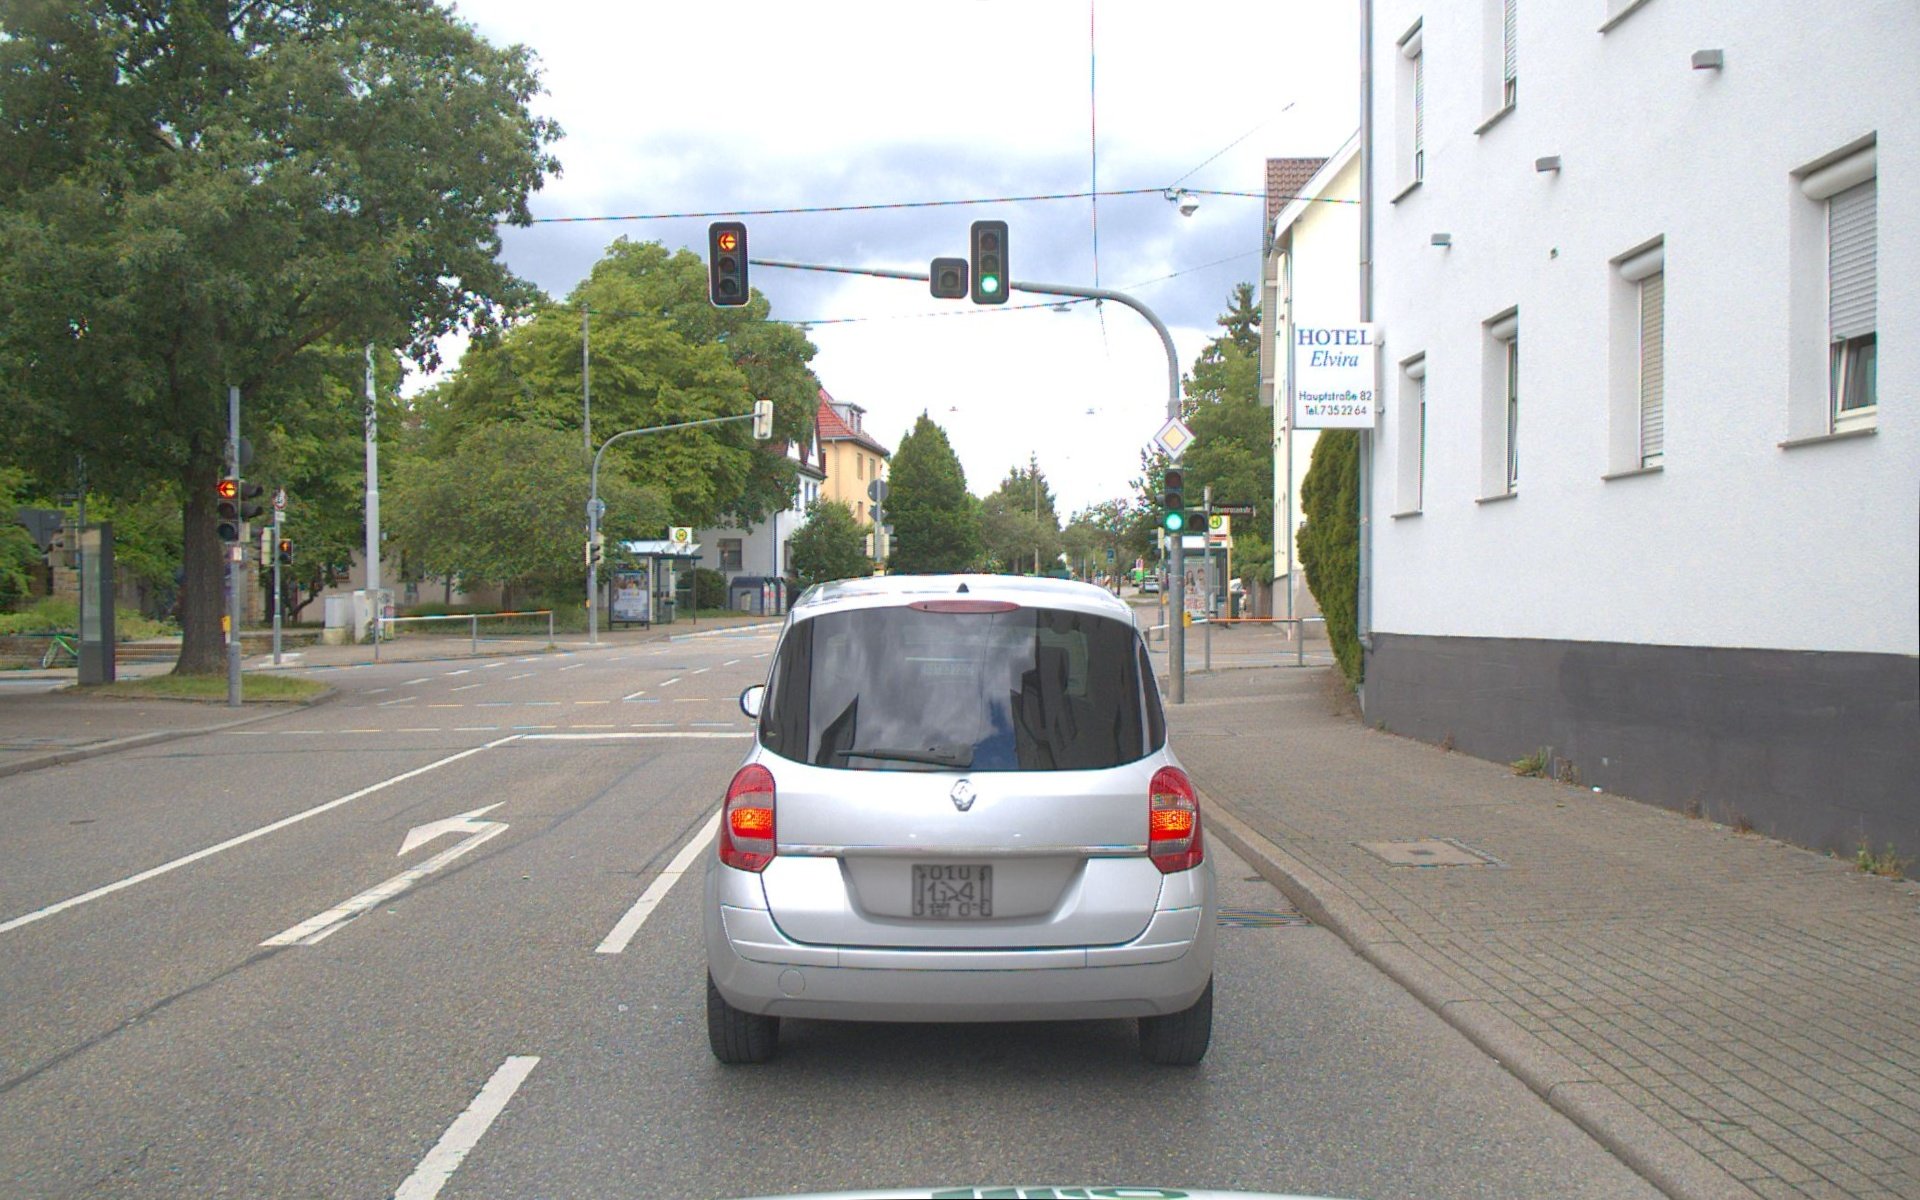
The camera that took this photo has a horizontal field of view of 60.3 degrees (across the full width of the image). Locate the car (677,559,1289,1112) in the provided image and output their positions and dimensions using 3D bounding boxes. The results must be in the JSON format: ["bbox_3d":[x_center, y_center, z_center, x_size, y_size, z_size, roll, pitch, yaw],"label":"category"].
[{"bbox_3d":[0.029,0.669,6.682,1.719,1.557,3.999,1,0,-1],"label":"car"}]

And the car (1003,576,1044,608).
[{"bbox_3d":[3.712,-0.449,96.537,1.818,1.778,4.003,1,0,11],"label":"car"}]

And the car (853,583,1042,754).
[{"bbox_3d":[-0.152,0.626,17.044,1.719,1.557,3.796,1,0,-1],"label":"car"}]

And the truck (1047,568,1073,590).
[{"bbox_3d":[10.086,-2.089,166.675,2.056,2.049,5.752,1,0,9],"label":"truck"}]

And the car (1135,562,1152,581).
[{"bbox_3d":[26.256,-4.037,236.444,2.015,2.556,5.600,1,0,11],"label":"car"}]

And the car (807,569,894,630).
[{"bbox_3d":[-3.535,-0.029,54.119,1.885,1.804,4.004,-4,0,9],"label":"car"}]
